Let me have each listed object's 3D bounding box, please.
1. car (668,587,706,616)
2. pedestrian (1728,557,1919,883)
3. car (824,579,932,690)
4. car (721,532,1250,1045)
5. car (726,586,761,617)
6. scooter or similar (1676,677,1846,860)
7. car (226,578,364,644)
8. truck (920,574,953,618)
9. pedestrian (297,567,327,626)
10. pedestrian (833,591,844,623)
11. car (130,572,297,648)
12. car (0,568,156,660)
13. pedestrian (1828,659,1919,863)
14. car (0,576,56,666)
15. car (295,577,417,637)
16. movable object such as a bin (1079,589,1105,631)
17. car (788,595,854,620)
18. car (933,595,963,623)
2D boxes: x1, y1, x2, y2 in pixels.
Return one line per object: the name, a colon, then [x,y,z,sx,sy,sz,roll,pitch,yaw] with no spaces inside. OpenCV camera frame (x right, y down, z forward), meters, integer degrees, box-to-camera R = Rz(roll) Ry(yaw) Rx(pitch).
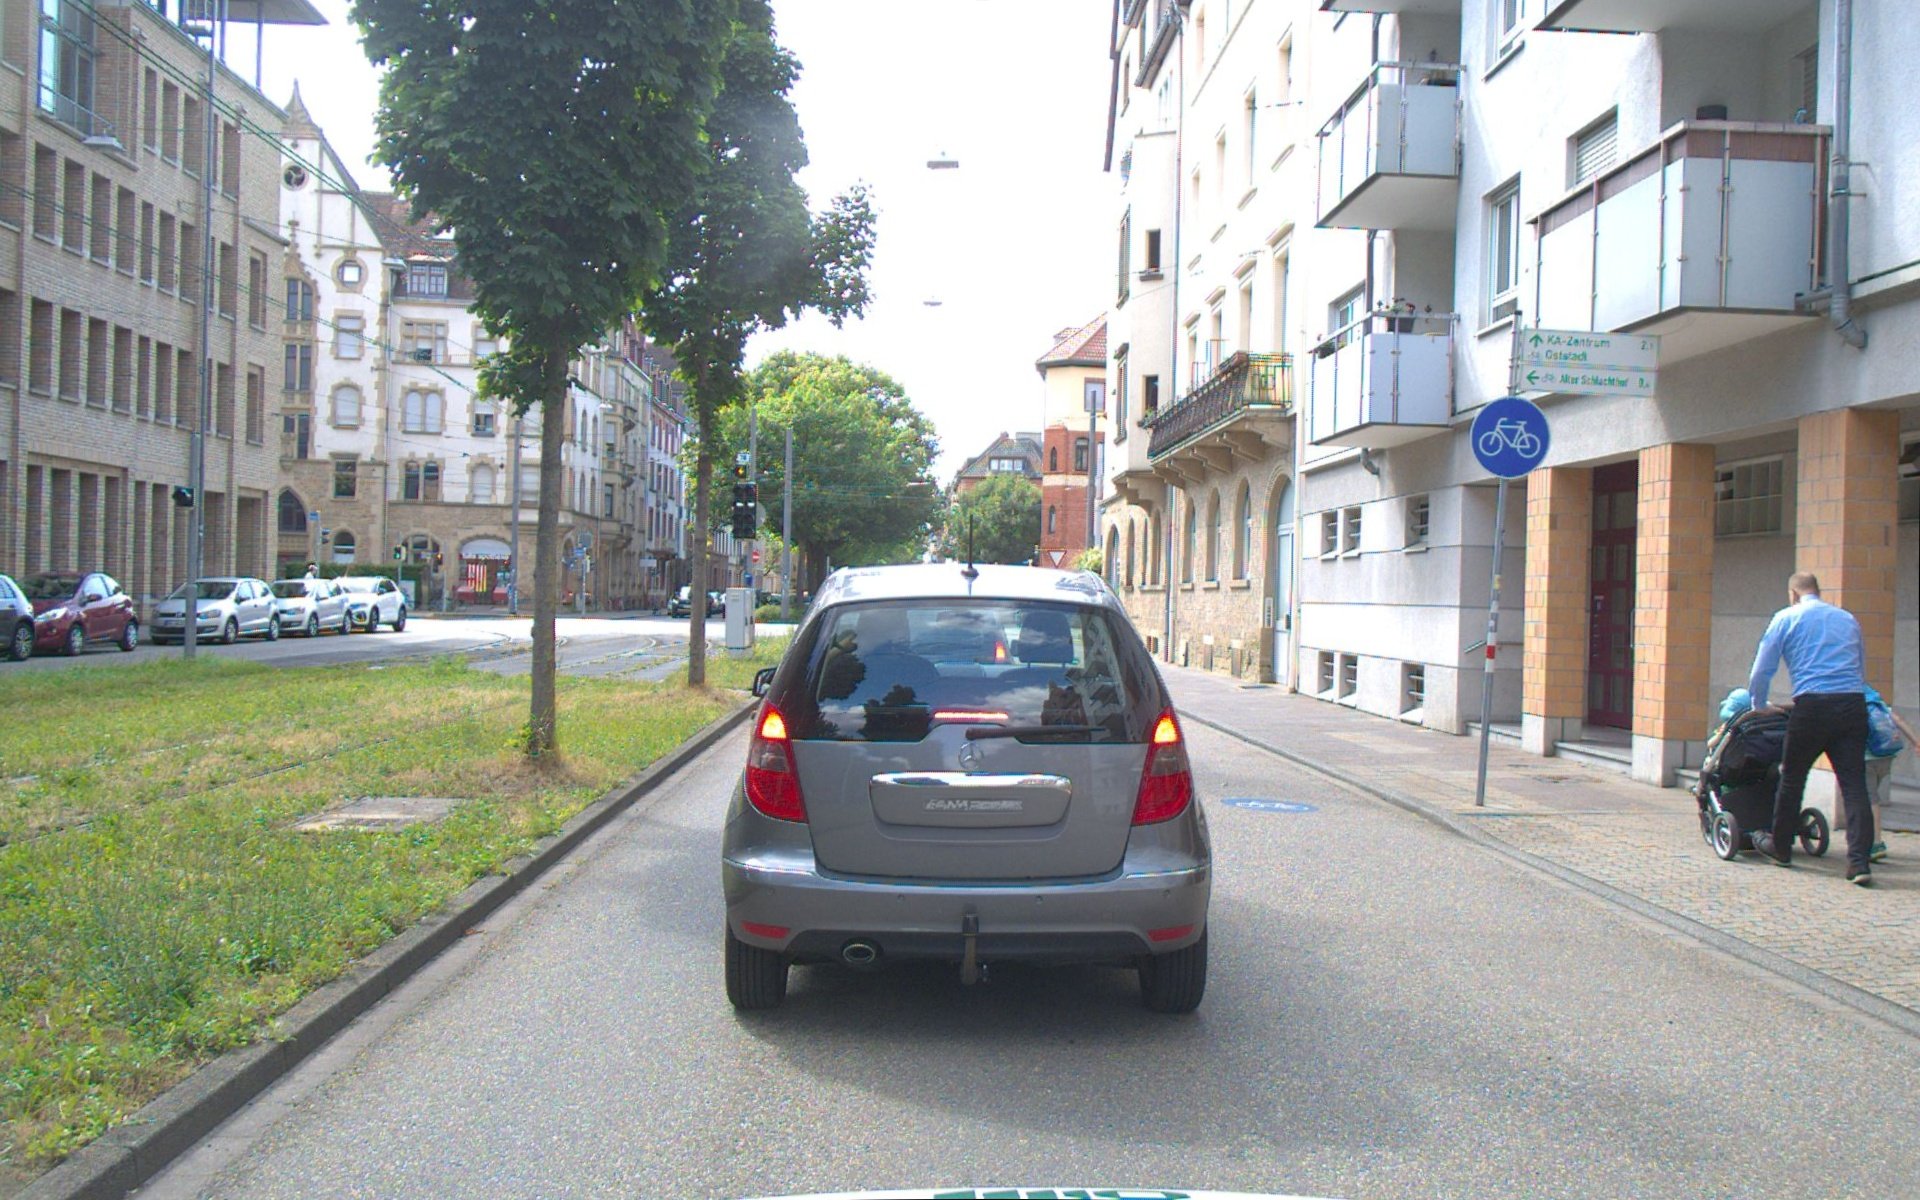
car: [-15.709,0.080,95.451,1.955,1.646,3.994,1,0,-7]
pedestrian: [4.962,0.656,9.516,0.608,1.769,0.877,-2,0,-1]
car: [-1.333,0.544,28.092,1.687,1.736,3.676,1,0,-1]
car: [0.061,0.609,7.165,1.687,1.633,3.676,1,0,-1]
car: [-12.655,0.083,97.037,1.955,1.758,3.994,1,0,-7]
scooter or similar: [4.998,1.032,10.368,0.580,1.019,0.905,-3,0,-1]
car: [-16.879,0.254,42.199,1.894,1.557,4.014,1,0,-1]
truck: [-1.616,-0.301,116.913,2.079,3.022,4.001,1,0,2]
pedestrian: [-20.320,-0.103,51.833,0.751,1.827,0.952,2,0,-27]
pedestrian: [-6.759,0.401,92.144,0.484,1.755,0.652,2,0,-12]
car: [-16.579,0.195,36.956,1.813,1.557,4.209,1,0,-1]
car: [-16.437,0.233,30.417,1.550,1.557,3.549,1,0,-1]
pedestrian: [5.583,0.951,9.926,0.447,1.154,0.494,-2,0,-1]
car: [-16.182,0.319,25.743,1.893,1.420,4.238,1,0,-1]
car: [-16.988,0.185,46.753,1.893,1.561,4.257,1,0,-1]
movable object such as a bin: [4.746,0.362,59.673,0.701,1.497,0.980,1,0,-10]
car: [-8.278,0.442,98.452,1.957,1.362,3.941,2,0,-41]
car: [-0.755,0.553,103.960,1.716,1.661,3.500,2,0,2]
